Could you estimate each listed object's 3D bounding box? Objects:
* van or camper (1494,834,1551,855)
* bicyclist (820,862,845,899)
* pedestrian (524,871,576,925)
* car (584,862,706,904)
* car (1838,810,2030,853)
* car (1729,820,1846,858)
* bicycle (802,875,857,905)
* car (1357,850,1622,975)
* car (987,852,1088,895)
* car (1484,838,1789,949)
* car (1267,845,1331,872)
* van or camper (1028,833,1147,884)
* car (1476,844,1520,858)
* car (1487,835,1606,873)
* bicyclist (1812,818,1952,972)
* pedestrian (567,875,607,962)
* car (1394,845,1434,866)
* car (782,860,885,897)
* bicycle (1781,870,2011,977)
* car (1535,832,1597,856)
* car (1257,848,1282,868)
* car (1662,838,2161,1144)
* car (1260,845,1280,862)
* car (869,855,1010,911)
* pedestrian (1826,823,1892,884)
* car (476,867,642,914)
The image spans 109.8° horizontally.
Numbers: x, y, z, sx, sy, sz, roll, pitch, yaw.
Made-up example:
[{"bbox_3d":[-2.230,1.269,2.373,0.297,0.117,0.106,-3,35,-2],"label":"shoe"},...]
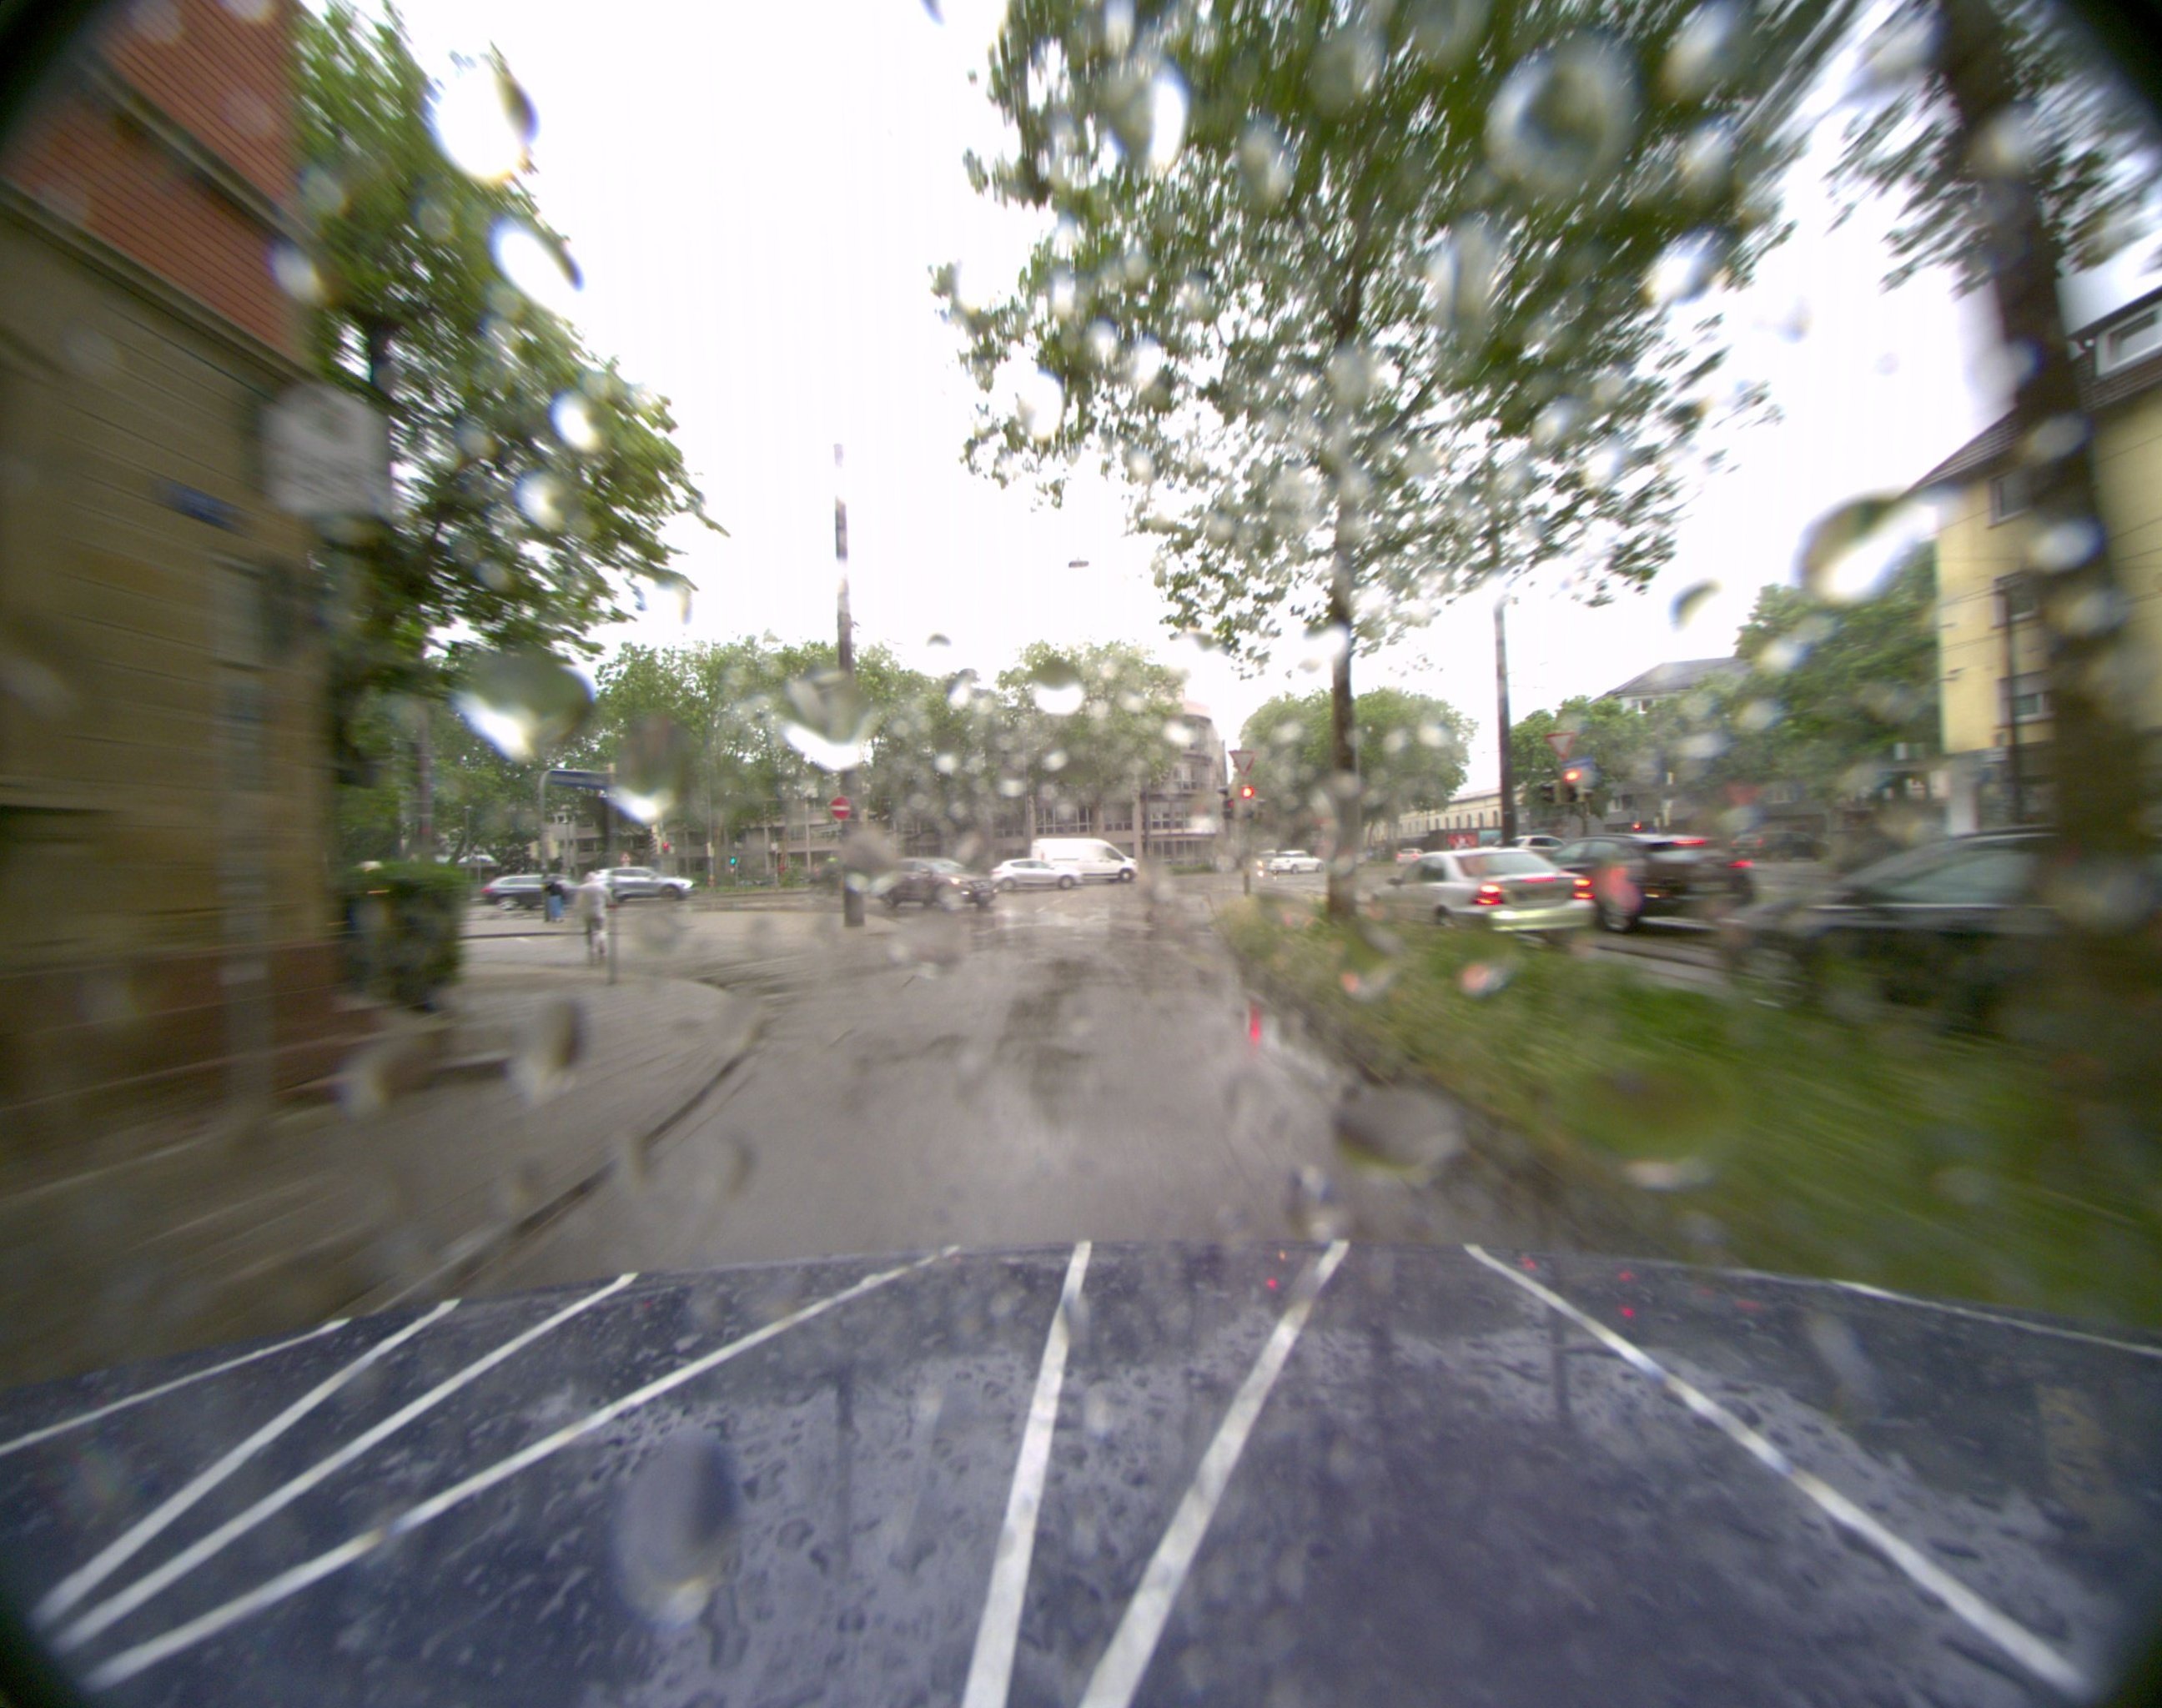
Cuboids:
[{"bbox_3d":[45.198,-0.957,77.905,4.647,2.063,2.001,-1,1,11],"label":"van or camper"},{"bbox_3d":[-10.399,1.092,31.872,0.805,1.462,0.927,-1,2,-8],"label":"bicyclist"},{"bbox_3d":[-17.424,1.416,24.952,0.995,1.657,1.108,-1,2,41],"label":"pedestrian"},{"bbox_3d":[-20.278,1.312,35.548,4.558,1.650,1.785,-3,1,-13],"label":"car"},{"bbox_3d":[35.915,-0.891,32.223,2.002,1.465,4.982,-3,-1,-20],"label":"car"},{"bbox_3d":[35.878,-0.753,38.668,4.187,1.700,1.807,-2,1,3],"label":"car"},{"bbox_3d":[-10.504,1.497,31.780,1.998,1.082,0.818,-3,2,-9],"label":"bicycle"},{"bbox_3d":[5.937,0.747,11.778,1.739,1.480,4.501,-3,0,2],"label":"car"},{"bbox_3d":[-2.033,0.852,34.983,4.268,1.731,1.974,-3,1,-14],"label":"car"},{"bbox_3d":[9.081,0.580,12.993,1.879,1.493,4.283,-3,0,-3],"label":"car"},{"bbox_3d":[14.354,0.299,49.938,4.080,1.578,1.803,-3,1,-35],"label":"car"},{"bbox_3d":[0.349,0.190,41.319,5.975,2.457,2.178,-3,1,-20],"label":"van or camper"},{"bbox_3d":[48.025,-0.340,87.629,3.993,1.604,2.002,0,1,13],"label":"car"},{"bbox_3d":[22.678,-0.022,37.140,4.678,1.637,1.913,-2,1,-4],"label":"car"},{"bbox_3d":[9.433,0.455,8.982,0.714,1.706,0.889,-2,2,-2],"label":"bicyclist"},{"bbox_3d":[-10.481,1.346,16.137,0.567,1.762,1.203,1,-3,-28],"label":"pedestrian"},{"bbox_3d":[27.395,0.119,62.369,1.807,1.528,4.199,-2,0,41],"label":"car"},{"bbox_3d":[-11.993,1.157,37.137,4.558,1.504,1.785,-3,1,-13],"label":"car"},{"bbox_3d":[9.445,0.752,8.925,0.719,1.026,1.815,-2,1,-2],"label":"bicycle"},{"bbox_3d":[44.447,-0.896,69.764,4.388,2.002,2.070,-2,1,18],"label":"car"},{"bbox_3d":[18.681,0.354,75.265,1.800,1.761,4.005,-4,0,21],"label":"car"},{"bbox_3d":[6.327,0.671,4.762,1.861,1.476,4.640,-3,0,2],"label":"car"},{"bbox_3d":[20.296,-0.053,81.697,2.001,1.761,4.004,-1,0,14],"label":"car"},{"bbox_3d":[-4.776,0.950,25.313,4.667,1.637,1.918,-2,2,37],"label":"car"},{"bbox_3d":[21.934,-0.019,21.442,1.015,1.667,0.815,-2,1,14],"label":"pedestrian"},{"bbox_3d":[-21.704,1.483,31.815,5.337,1.583,1.947,-3,0,-10],"label":"car"}]
